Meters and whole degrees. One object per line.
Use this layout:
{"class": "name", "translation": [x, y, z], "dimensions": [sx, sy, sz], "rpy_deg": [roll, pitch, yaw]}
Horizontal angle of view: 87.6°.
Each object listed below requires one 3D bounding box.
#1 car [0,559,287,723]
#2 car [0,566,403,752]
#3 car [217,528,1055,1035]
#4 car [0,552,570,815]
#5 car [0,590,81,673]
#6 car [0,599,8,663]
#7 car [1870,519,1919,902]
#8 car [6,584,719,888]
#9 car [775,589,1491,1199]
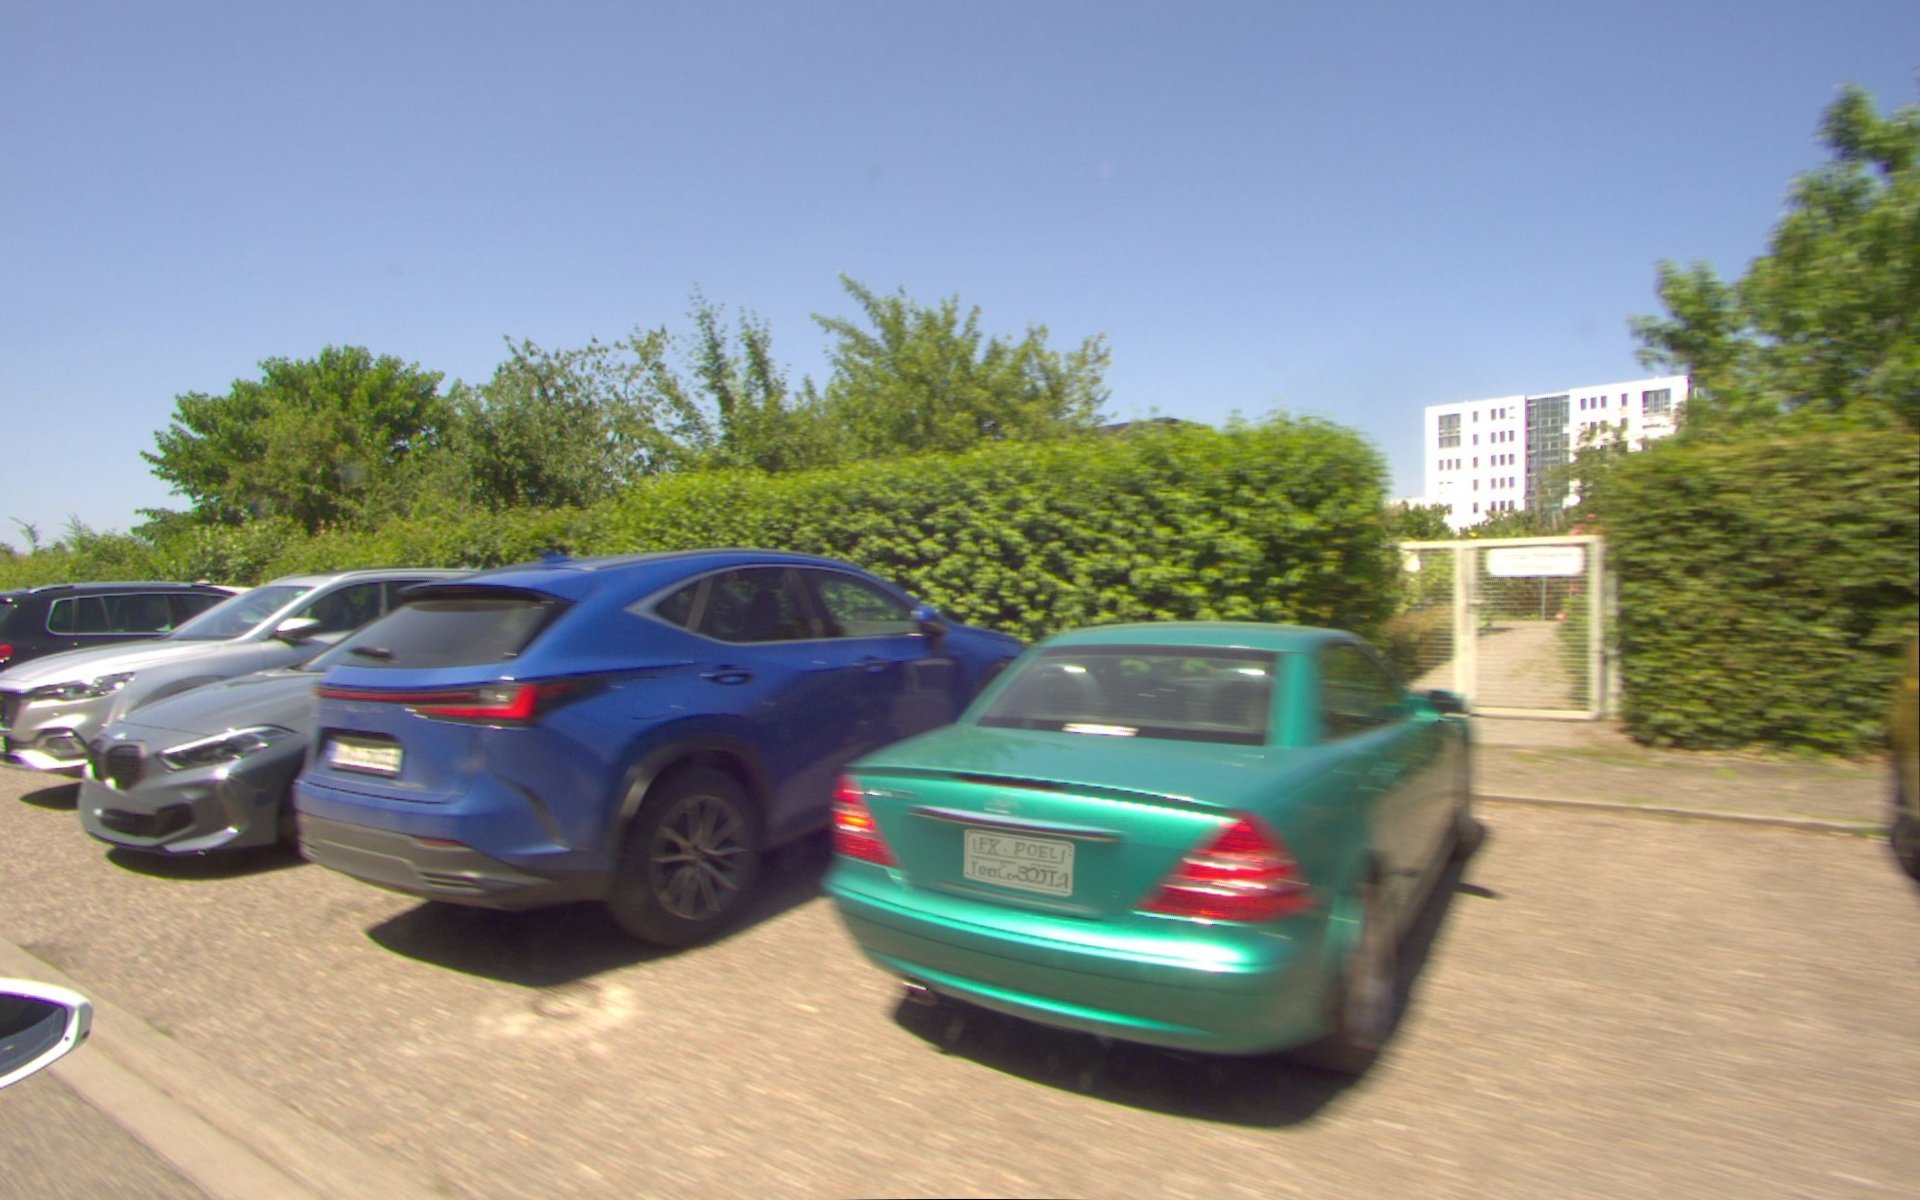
{"class": "car", "translation": [-11.487, 0.495, 12.730], "dimensions": [1.849, 1.722, 4.392], "rpy_deg": [-1, 5, 31]}
{"class": "car", "translation": [-9.054, 0.526, 11.588], "dimensions": [1.860, 1.680, 4.112], "rpy_deg": [0, 3, 33]}
{"class": "car", "translation": [-1.228, 0.487, 5.579], "dimensions": [1.796, 1.657, 4.226], "rpy_deg": [0, 4, 32]}
{"class": "car", "translation": [-5.931, 0.491, 8.968], "dimensions": [1.871, 1.677, 4.226], "rpy_deg": [-1, 3, 30]}
{"class": "car", "translation": [-19.534, 0.710, 19.000], "dimensions": [1.790, 1.501, 3.937], "rpy_deg": [0, 5, 38]}
{"class": "car", "translation": [-22.207, 0.672, 20.141], "dimensions": [1.785, 1.692, 3.949], "rpy_deg": [-1, 4, 28]}
{"class": "car", "translation": [4.020, 0.493, 2.771], "dimensions": [1.751, 1.475, 3.786], "rpy_deg": [0, 4, 35]}
{"class": "car", "translation": [-3.793, 0.660, 7.263], "dimensions": [1.785, 1.459, 4.128], "rpy_deg": [0, 2, 25]}
{"class": "car", "translation": [1.137, 0.686, 4.231], "dimensions": [1.605, 1.286, 3.723], "rpy_deg": [0, 3, 34]}
